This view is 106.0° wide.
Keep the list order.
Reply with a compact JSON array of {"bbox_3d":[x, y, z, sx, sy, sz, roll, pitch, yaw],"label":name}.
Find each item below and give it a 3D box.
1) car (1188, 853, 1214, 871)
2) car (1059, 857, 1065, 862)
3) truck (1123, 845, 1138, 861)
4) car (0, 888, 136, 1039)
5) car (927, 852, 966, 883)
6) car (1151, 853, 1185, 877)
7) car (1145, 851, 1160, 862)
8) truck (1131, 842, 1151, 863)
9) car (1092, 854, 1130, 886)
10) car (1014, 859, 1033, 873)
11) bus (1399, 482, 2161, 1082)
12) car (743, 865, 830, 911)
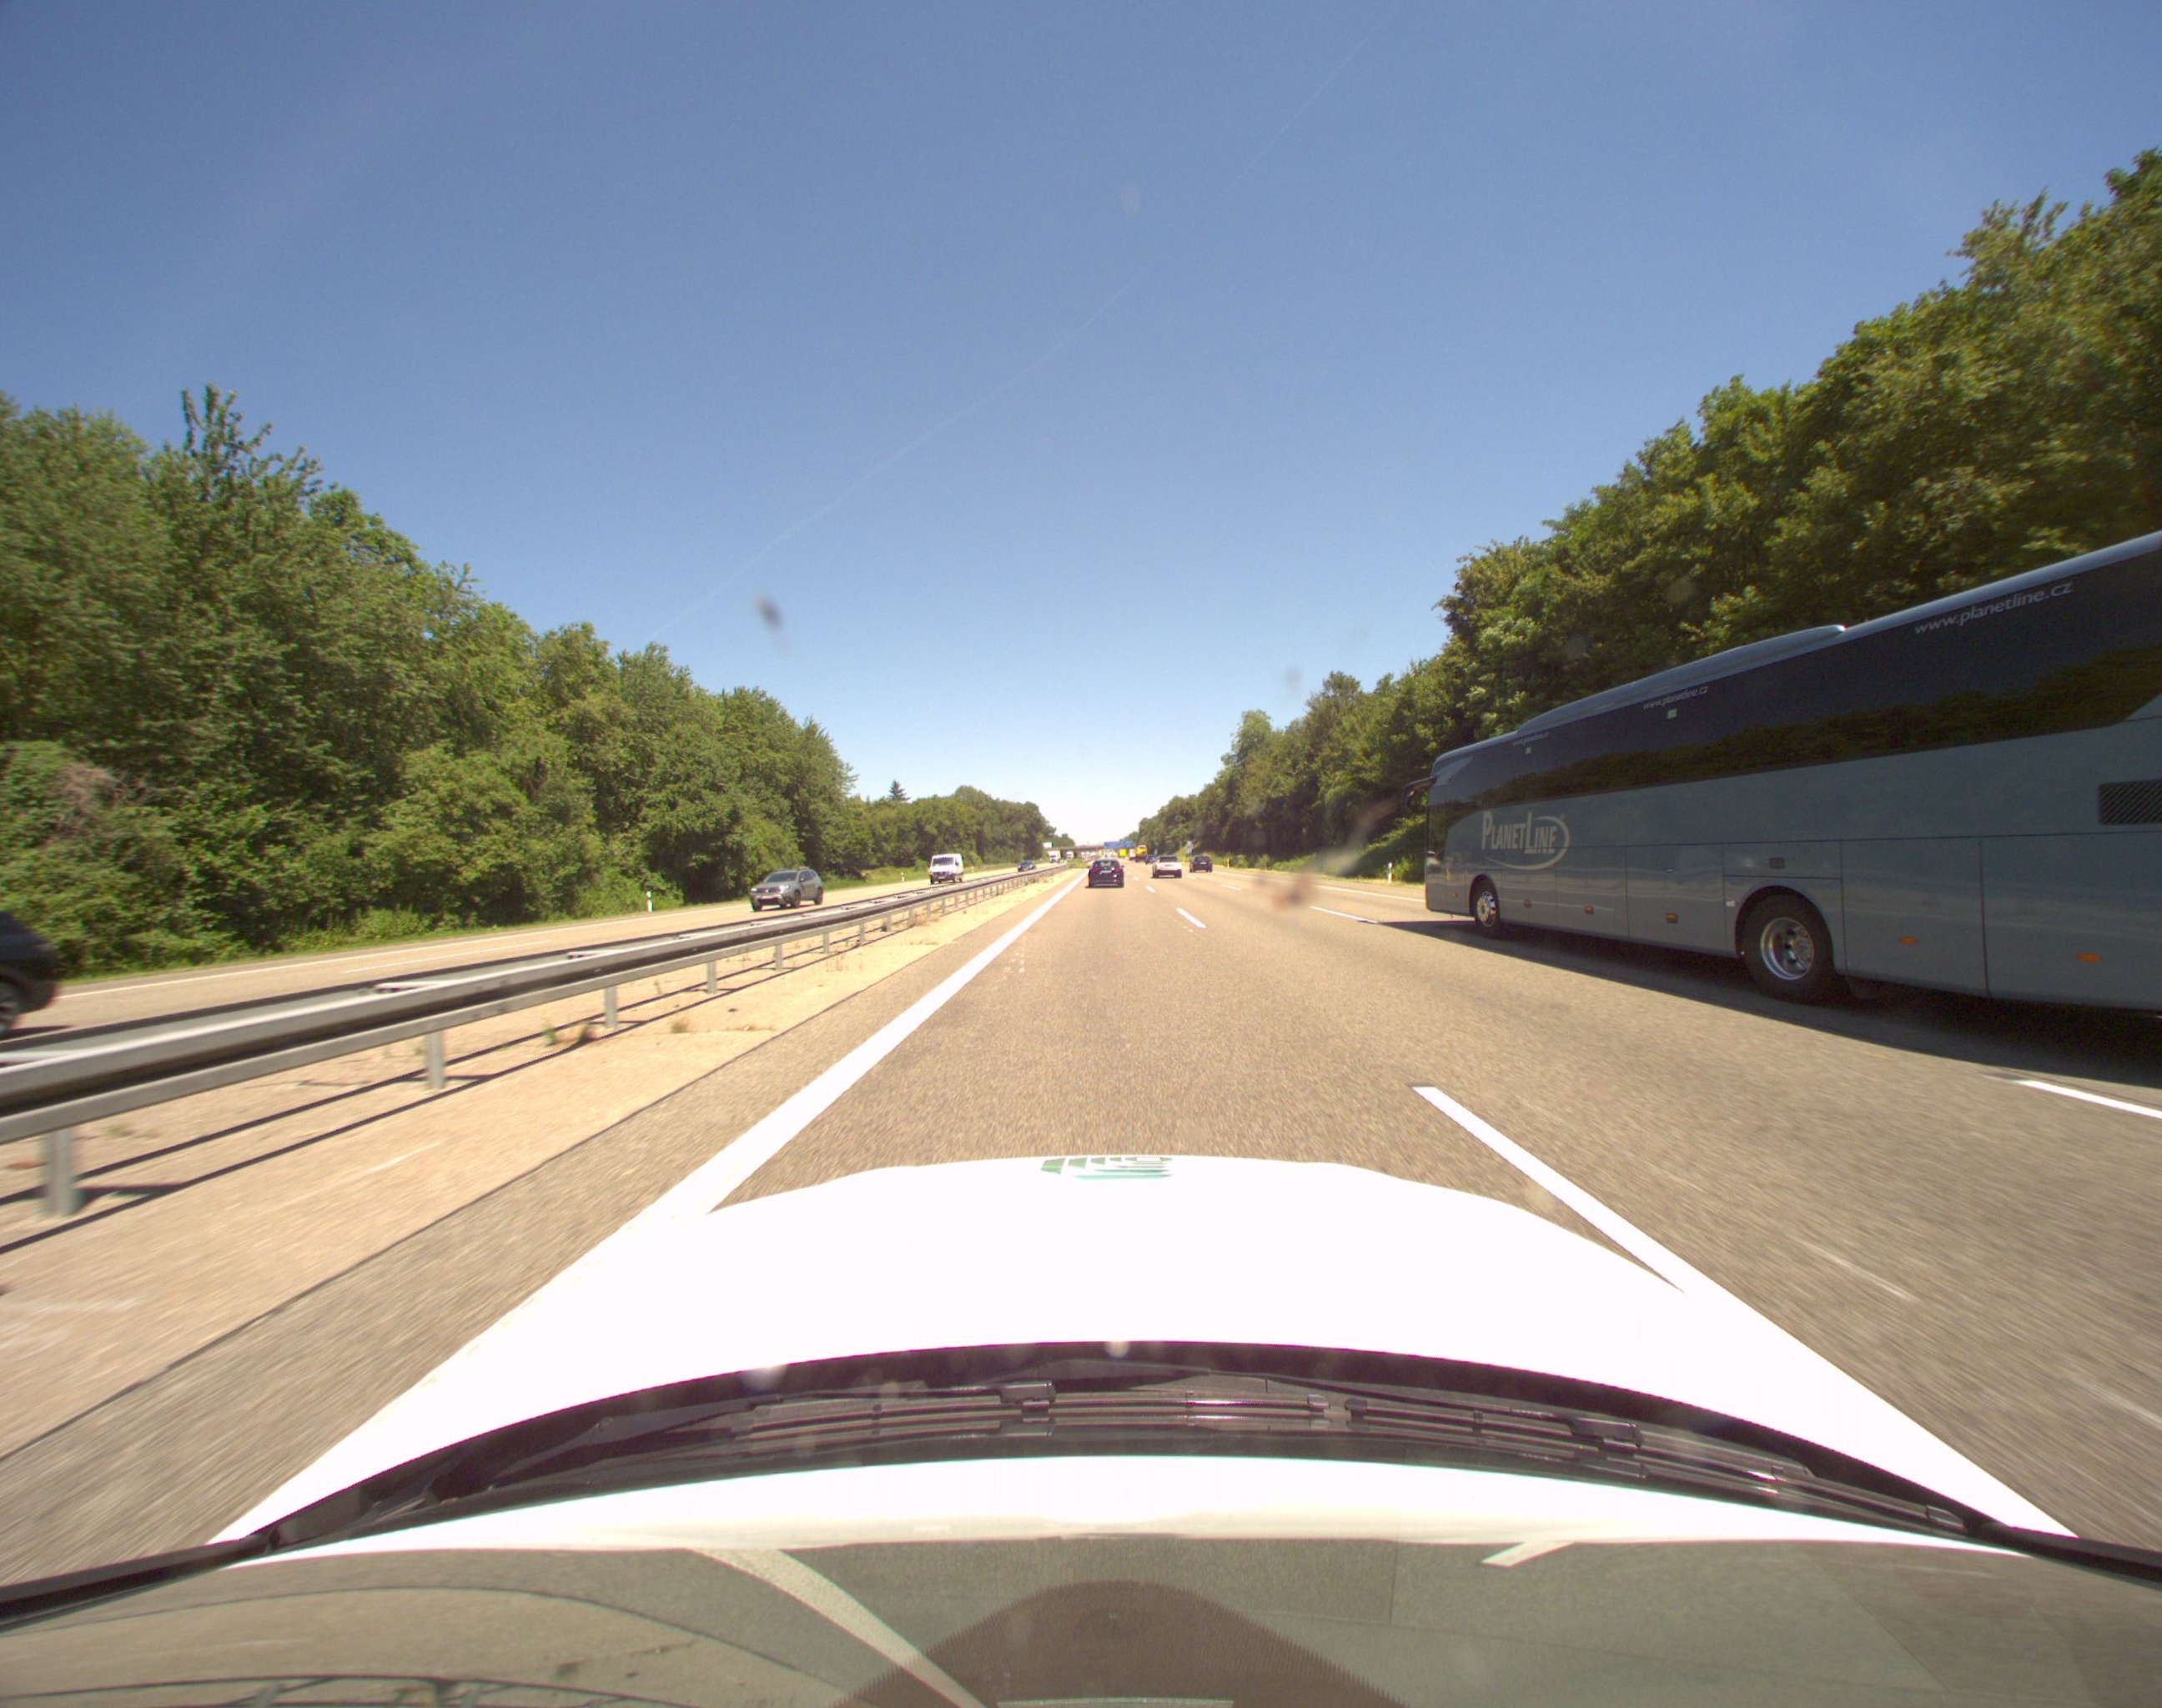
[{"bbox_3d":[10.391,0.712,70.728,1.782,1.461,3.952,-1,0,3],"label":"car"},{"bbox_3d":[-5.627,1.672,242.364,1.793,1.532,4.678,-1,0,1],"label":"car"},{"bbox_3d":[14.691,-0.267,241.537,3.635,4.590,17.248,-1,0,1],"label":"truck"},{"bbox_3d":[-13.376,1.338,7.993,2.266,1.651,4.929,-4,0,1],"label":"car"},{"bbox_3d":[-10.754,1.009,65.604,2.080,2.288,5.277,-3,0,1],"label":"car"},{"bbox_3d":[5.913,0.723,55.678,1.893,1.532,4.242,-1,0,1],"label":"car"},{"bbox_3d":[12.118,0.461,138.331,2.069,1.751,4.242,-3,0,1],"label":"car"},{"bbox_3d":[13.570,-0.320,185.339,3.635,4.590,15.767,-1,0,1],"label":"truck"},{"bbox_3d":[1.465,0.786,41.430,1.793,1.502,4.242,-1,0,1],"label":"car"},{"bbox_3d":[-6.677,1.392,95.509,1.799,1.480,4.568,-3,0,1],"label":"car"},{"bbox_3d":[7.977,-0.443,10.731,2.792,3.596,12.475,-1,0,1],"label":"bus"},{"bbox_3d":[-12.279,1.371,34.314,1.814,1.630,4.798,-3,0,1],"label":"car"}]
